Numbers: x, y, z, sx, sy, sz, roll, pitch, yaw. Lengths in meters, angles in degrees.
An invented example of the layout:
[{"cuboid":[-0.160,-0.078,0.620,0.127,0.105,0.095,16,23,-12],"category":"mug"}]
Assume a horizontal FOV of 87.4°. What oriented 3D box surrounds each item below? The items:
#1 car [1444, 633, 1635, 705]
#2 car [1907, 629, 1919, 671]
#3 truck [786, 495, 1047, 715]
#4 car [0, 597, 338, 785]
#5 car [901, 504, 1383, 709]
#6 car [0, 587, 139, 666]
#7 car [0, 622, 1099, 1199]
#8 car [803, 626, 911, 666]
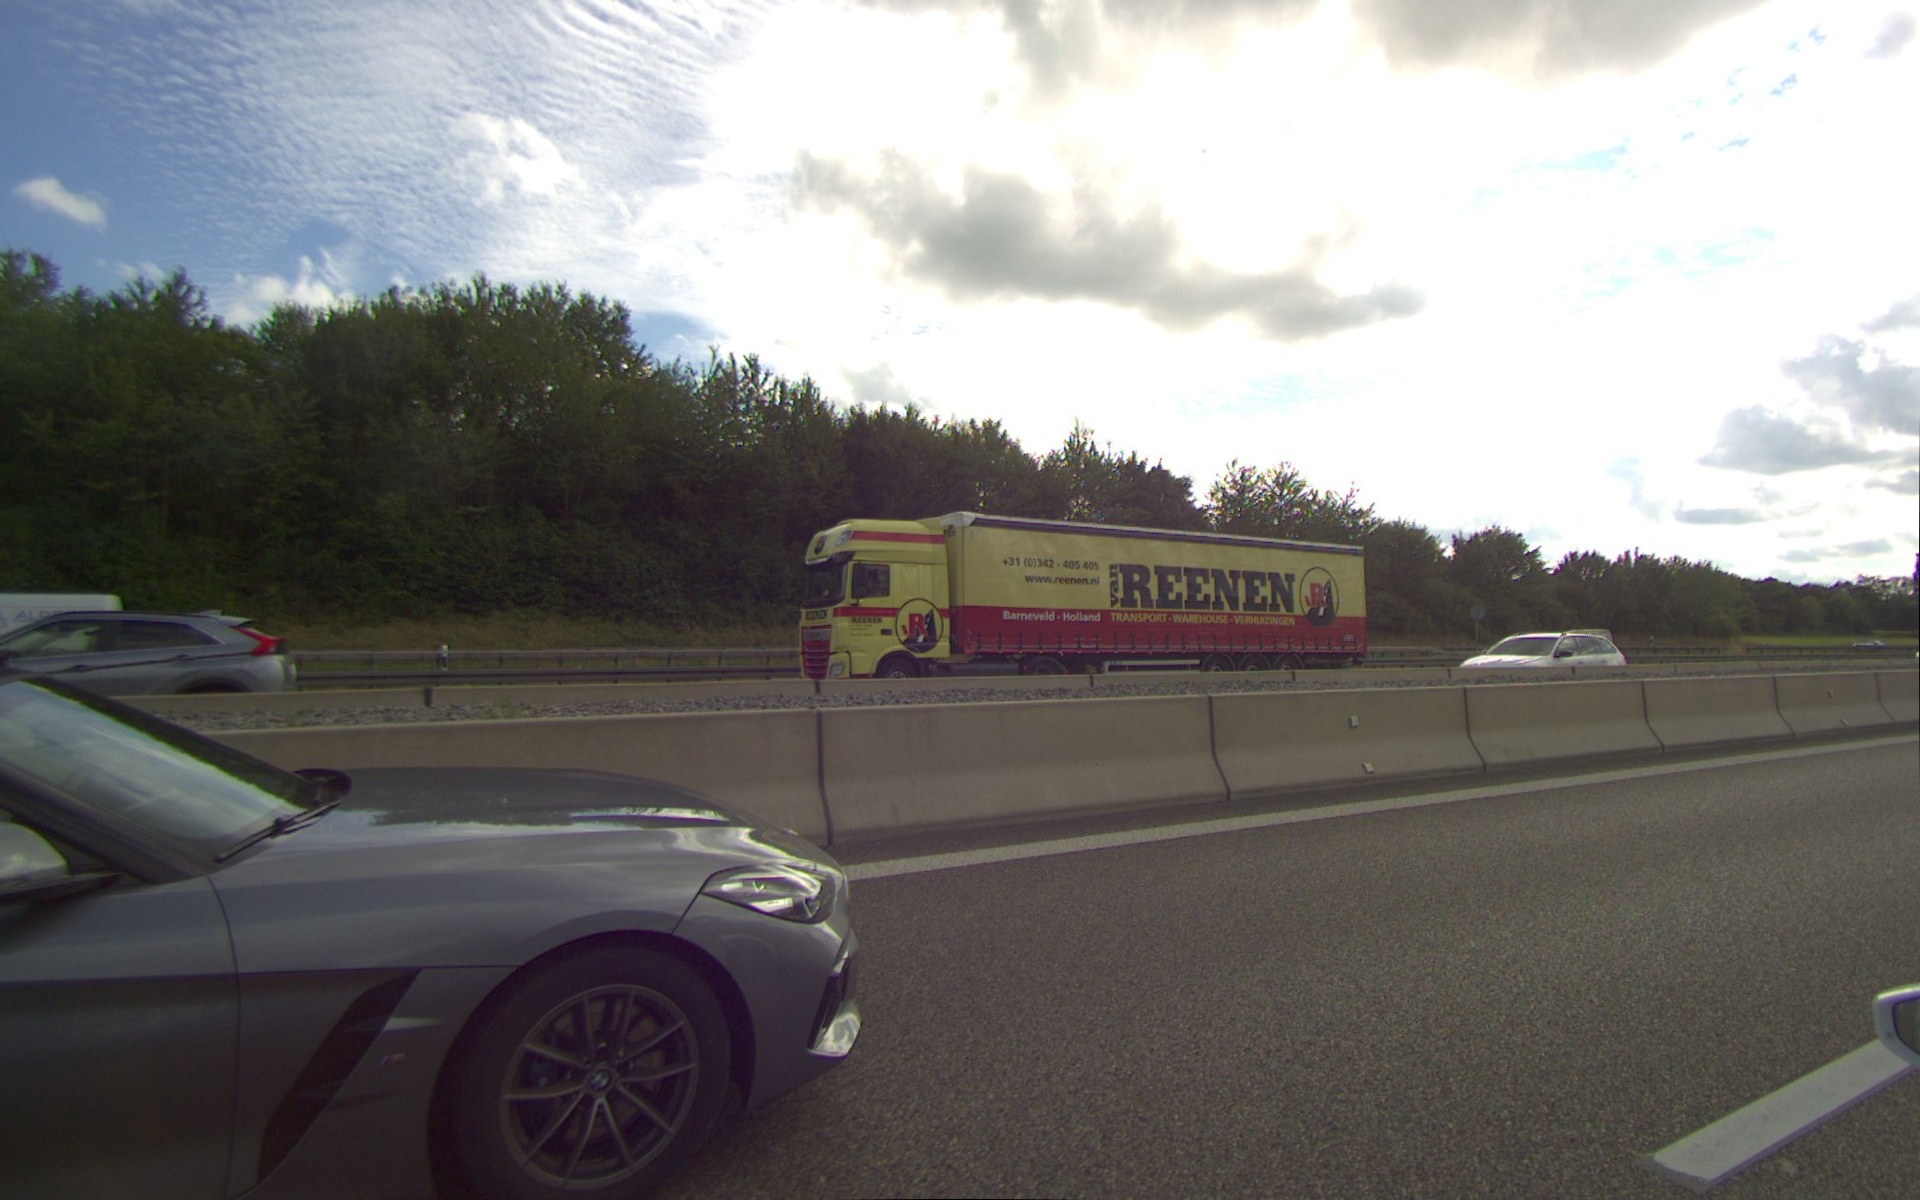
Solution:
[{"cuboid":[12.674,1.455,21.899,4.481,1.420,1.658,1,-2,-31],"category":"car"},{"cuboid":[44.011,2.207,44.501,5.067,1.818,1.724,1,-1,-32],"category":"car"},{"cuboid":[-0.974,0.178,22.508,5.101,4.380,2.883,1,-2,-30],"category":"truck"},{"cuboid":[-10.260,1.023,12.202,4.500,2.040,1.744,1,0,-31],"category":"car"},{"cuboid":[5.328,0.305,26.279,13.982,4.382,2.891,1,-2,-31],"category":"car"},{"cuboid":[-28.357,0.787,29.847,5.819,2.264,1.985,1,-2,-29],"category":"car"},{"cuboid":[-2.131,0.738,2.697,4.885,1.320,1.864,1,-1,-31],"category":"car"},{"cuboid":[-4.531,1.999,44.396,4.367,1.684,1.838,1,-2,-30],"category":"car"}]
